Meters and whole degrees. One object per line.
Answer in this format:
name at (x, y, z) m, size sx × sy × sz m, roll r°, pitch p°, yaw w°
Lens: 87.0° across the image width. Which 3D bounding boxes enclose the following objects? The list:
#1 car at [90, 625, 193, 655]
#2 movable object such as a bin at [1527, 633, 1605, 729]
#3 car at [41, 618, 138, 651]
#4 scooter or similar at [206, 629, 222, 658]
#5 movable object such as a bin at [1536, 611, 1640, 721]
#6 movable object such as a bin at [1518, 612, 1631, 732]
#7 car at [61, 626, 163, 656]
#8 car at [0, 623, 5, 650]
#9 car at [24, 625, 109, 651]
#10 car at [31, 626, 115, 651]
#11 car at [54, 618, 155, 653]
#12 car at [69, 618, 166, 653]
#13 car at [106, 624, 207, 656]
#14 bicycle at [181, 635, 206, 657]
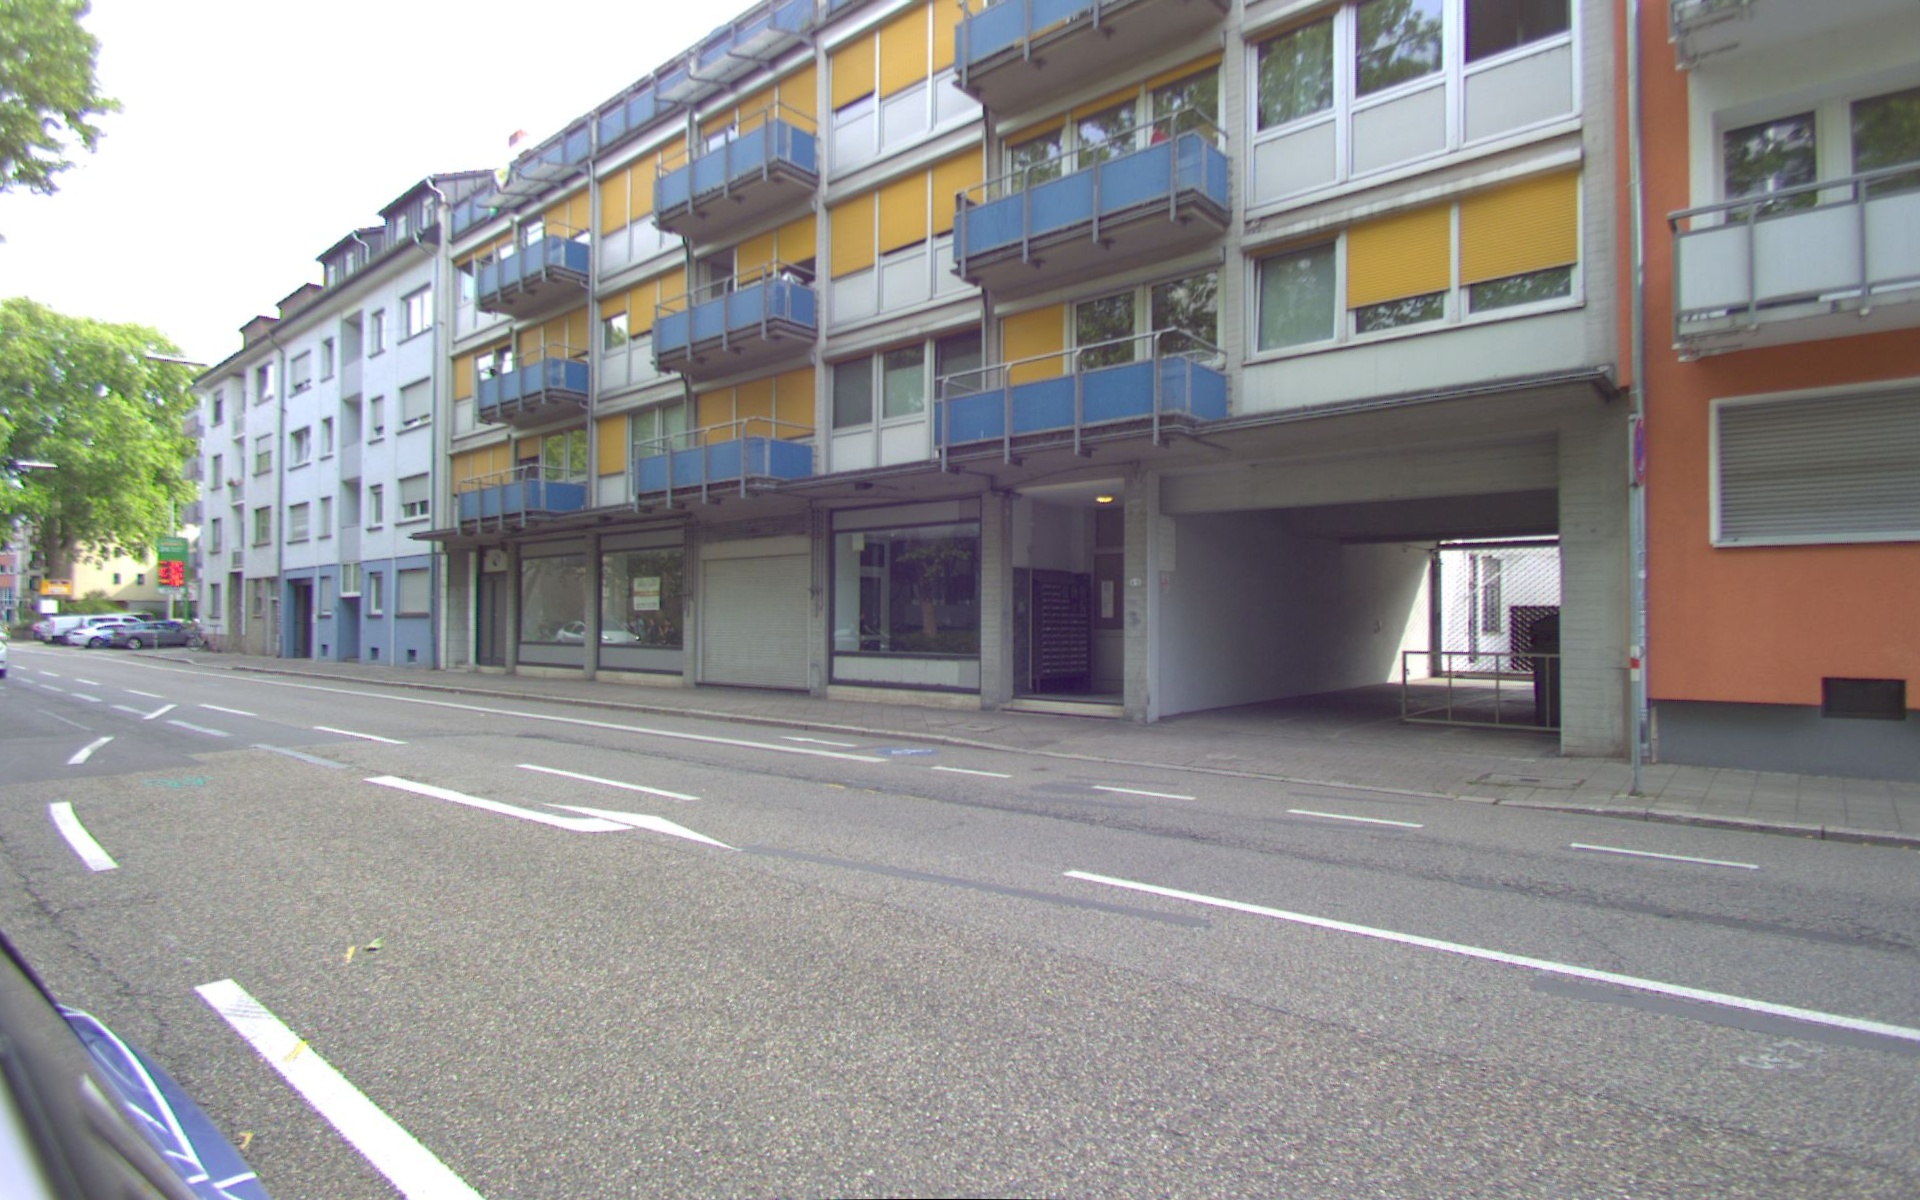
car at (-46.103, 2.234, 57.049) m, size 1.910 × 1.462 × 4.255 m, roll -2°, pitch 0°, yaw 41°
movable object such as a bin at (7.500, 0.973, 12.519) m, size 0.709 × 1.134 × 0.635 m, roll -2°, pitch -2°, yaw 42°
car at (-56.893, 2.248, 66.217) m, size 1.949 × 1.873 × 4.567 m, roll -2°, pitch 0°, yaw 42°
scooter or similar at (-32.564, 1.906, 44.176) m, size 1.201 × 1.231 × 0.346 m, roll -2°, pitch -1°, yaw 41°
movable object such as a bin at (8.989, 0.912, 14.479) m, size 1.052 × 1.475 × 1.177 m, roll -2°, pitch -2°, yaw 42°
movable object such as a bin at (8.072, 0.905, 13.282) m, size 1.052 × 1.475 × 1.177 m, roll -2°, pitch -2°, yaw 42°
car at (-48.336, 2.290, 57.773) m, size 1.873 × 1.462 × 4.226 m, roll -2°, pitch 0°, yaw 41°
car at (-52.665, 1.917, 54.172) m, size 4.096 × 1.438 × 1.739 m, roll -1°, pitch -3°, yaw 40°
car at (-65.281, 2.744, 73.981) m, size 1.753 × 1.618 × 4.470 m, roll -2°, pitch 0°, yaw 42°
car at (-63.500, 2.713, 72.504) m, size 1.732 × 1.560 × 4.315 m, roll -2°, pitch 0°, yaw 42°
car at (-54.839, 2.234, 64.919) m, size 1.993 × 1.949 × 4.716 m, roll -2°, pitch 0°, yaw 42°
car at (-50.036, 2.106, 60.128) m, size 1.923 × 1.862 × 4.167 m, roll -2°, pitch 0°, yaw 41°
car at (-44.144, 2.156, 55.650) m, size 1.836 × 1.525 × 4.107 m, roll -2°, pitch 0°, yaw 41°
bicycle at (-34.705, 2.073, 45.828) m, size 1.662 × 0.957 × 0.591 m, roll -2°, pitch -1°, yaw 41°
